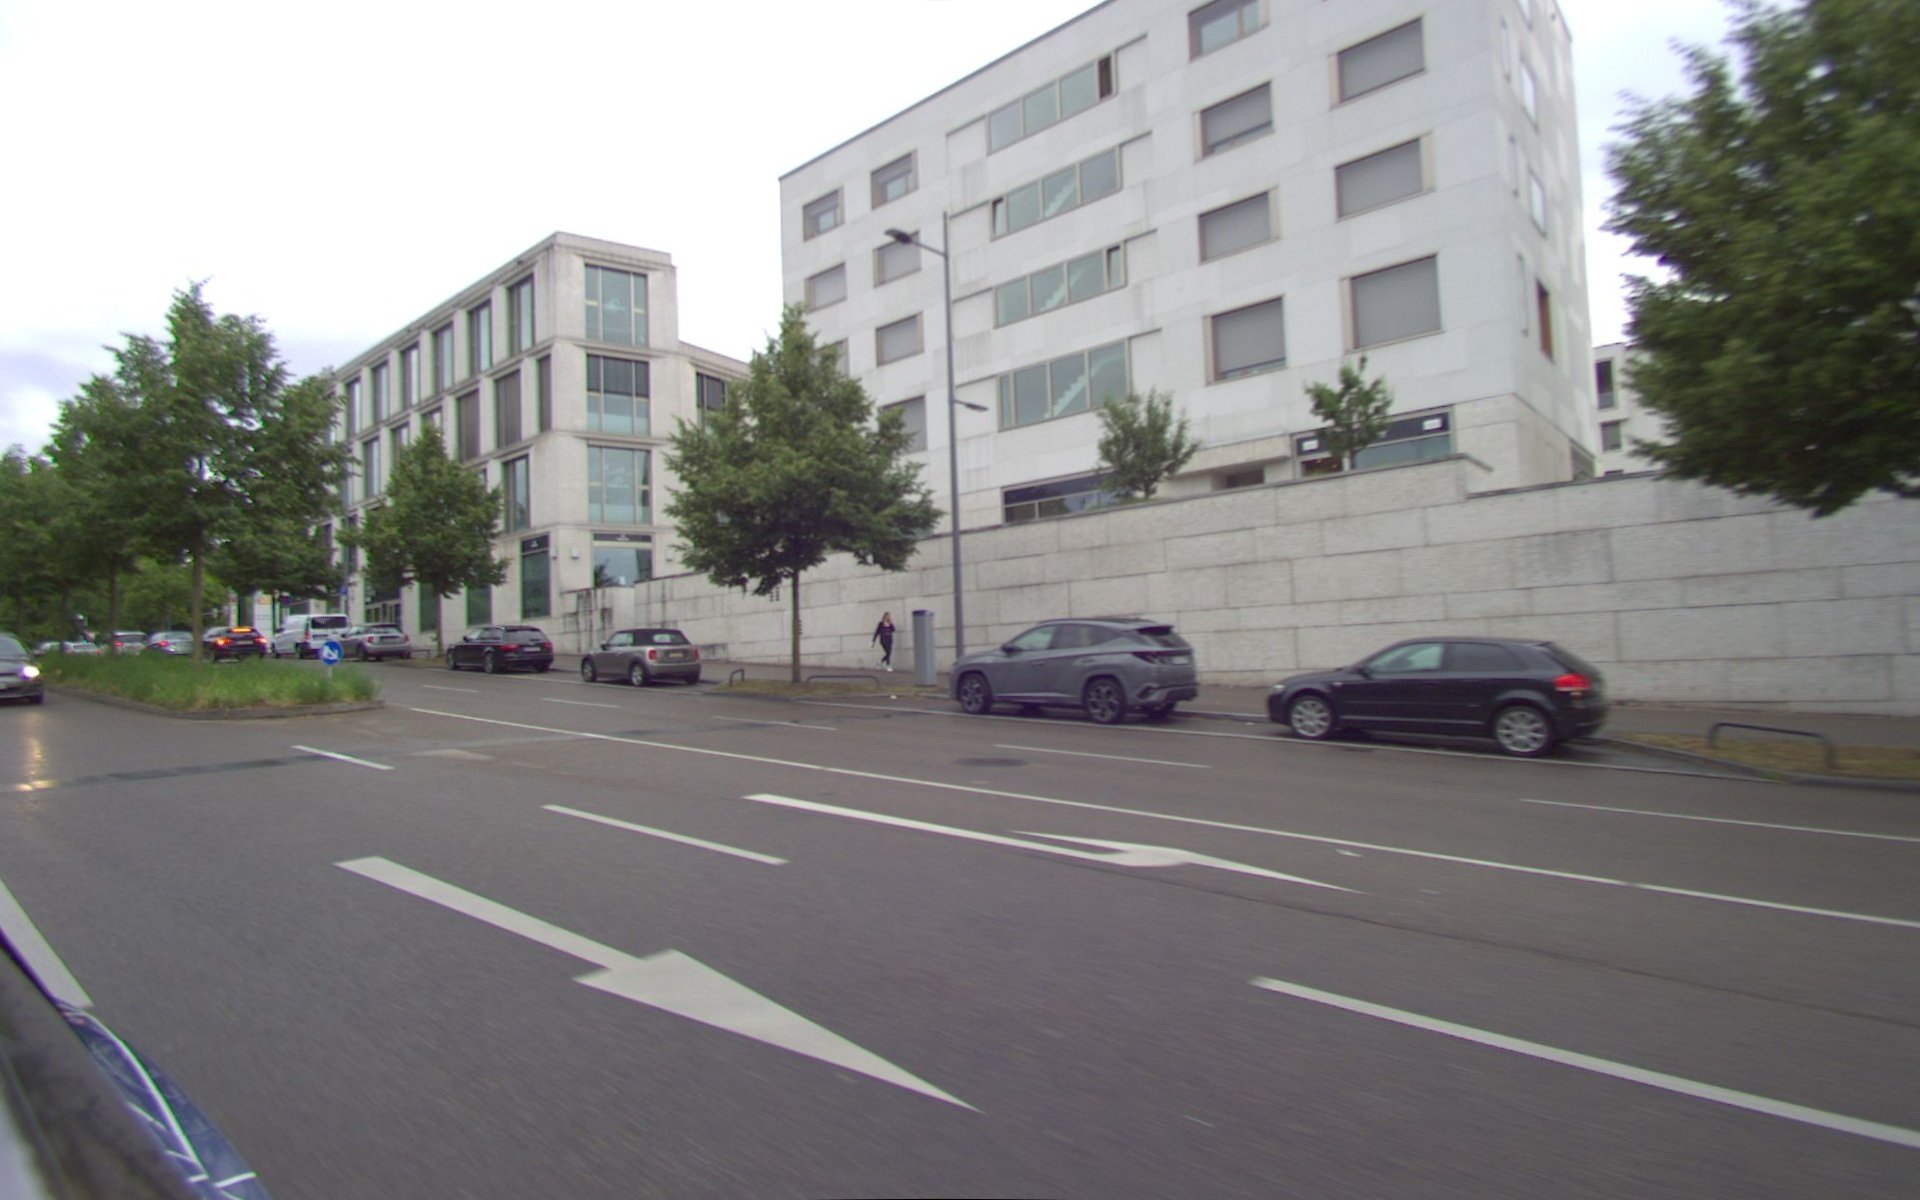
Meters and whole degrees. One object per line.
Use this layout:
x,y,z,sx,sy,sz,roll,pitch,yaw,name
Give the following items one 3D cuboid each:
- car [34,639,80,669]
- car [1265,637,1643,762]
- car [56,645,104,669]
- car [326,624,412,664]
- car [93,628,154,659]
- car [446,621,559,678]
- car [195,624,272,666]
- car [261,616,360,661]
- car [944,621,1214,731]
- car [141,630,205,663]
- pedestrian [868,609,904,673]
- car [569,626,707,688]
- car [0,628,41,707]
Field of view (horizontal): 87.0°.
-63.192,3.802,70.823,4.770,1.816,1.824,-6,-4,41,car
6.351,1.187,13.307,4.161,1.370,1.677,-2,-2,42,car
-55.432,3.593,63.742,4.058,1.479,1.725,-3,-4,41,car
-22.465,1.671,38.438,3.695,1.395,1.678,-2,-1,40,car
-45.274,2.369,54.726,4.671,1.613,1.810,-3,-3,41,car
-14.124,1.459,31.154,4.015,1.593,1.677,-1,-1,41,car
-29.781,1.817,41.450,4.014,1.593,1.677,-2,-1,41,car
-27.940,1.673,43.454,5.255,1.830,2.101,-3,-3,40,car
1.904,1.167,17.068,4.360,1.633,1.685,-1,-2,41,car
-37.734,2.261,48.503,3.993,1.422,1.624,-5,-5,41,car
-2.099,1.150,28.710,0.691,1.788,0.711,-3,-3,40,pedestrian
-8.370,1.437,26.150,3.859,1.455,1.677,-2,-1,42,car
-19.782,1.414,20.151,4.000,1.450,1.879,-4,-1,44,car
